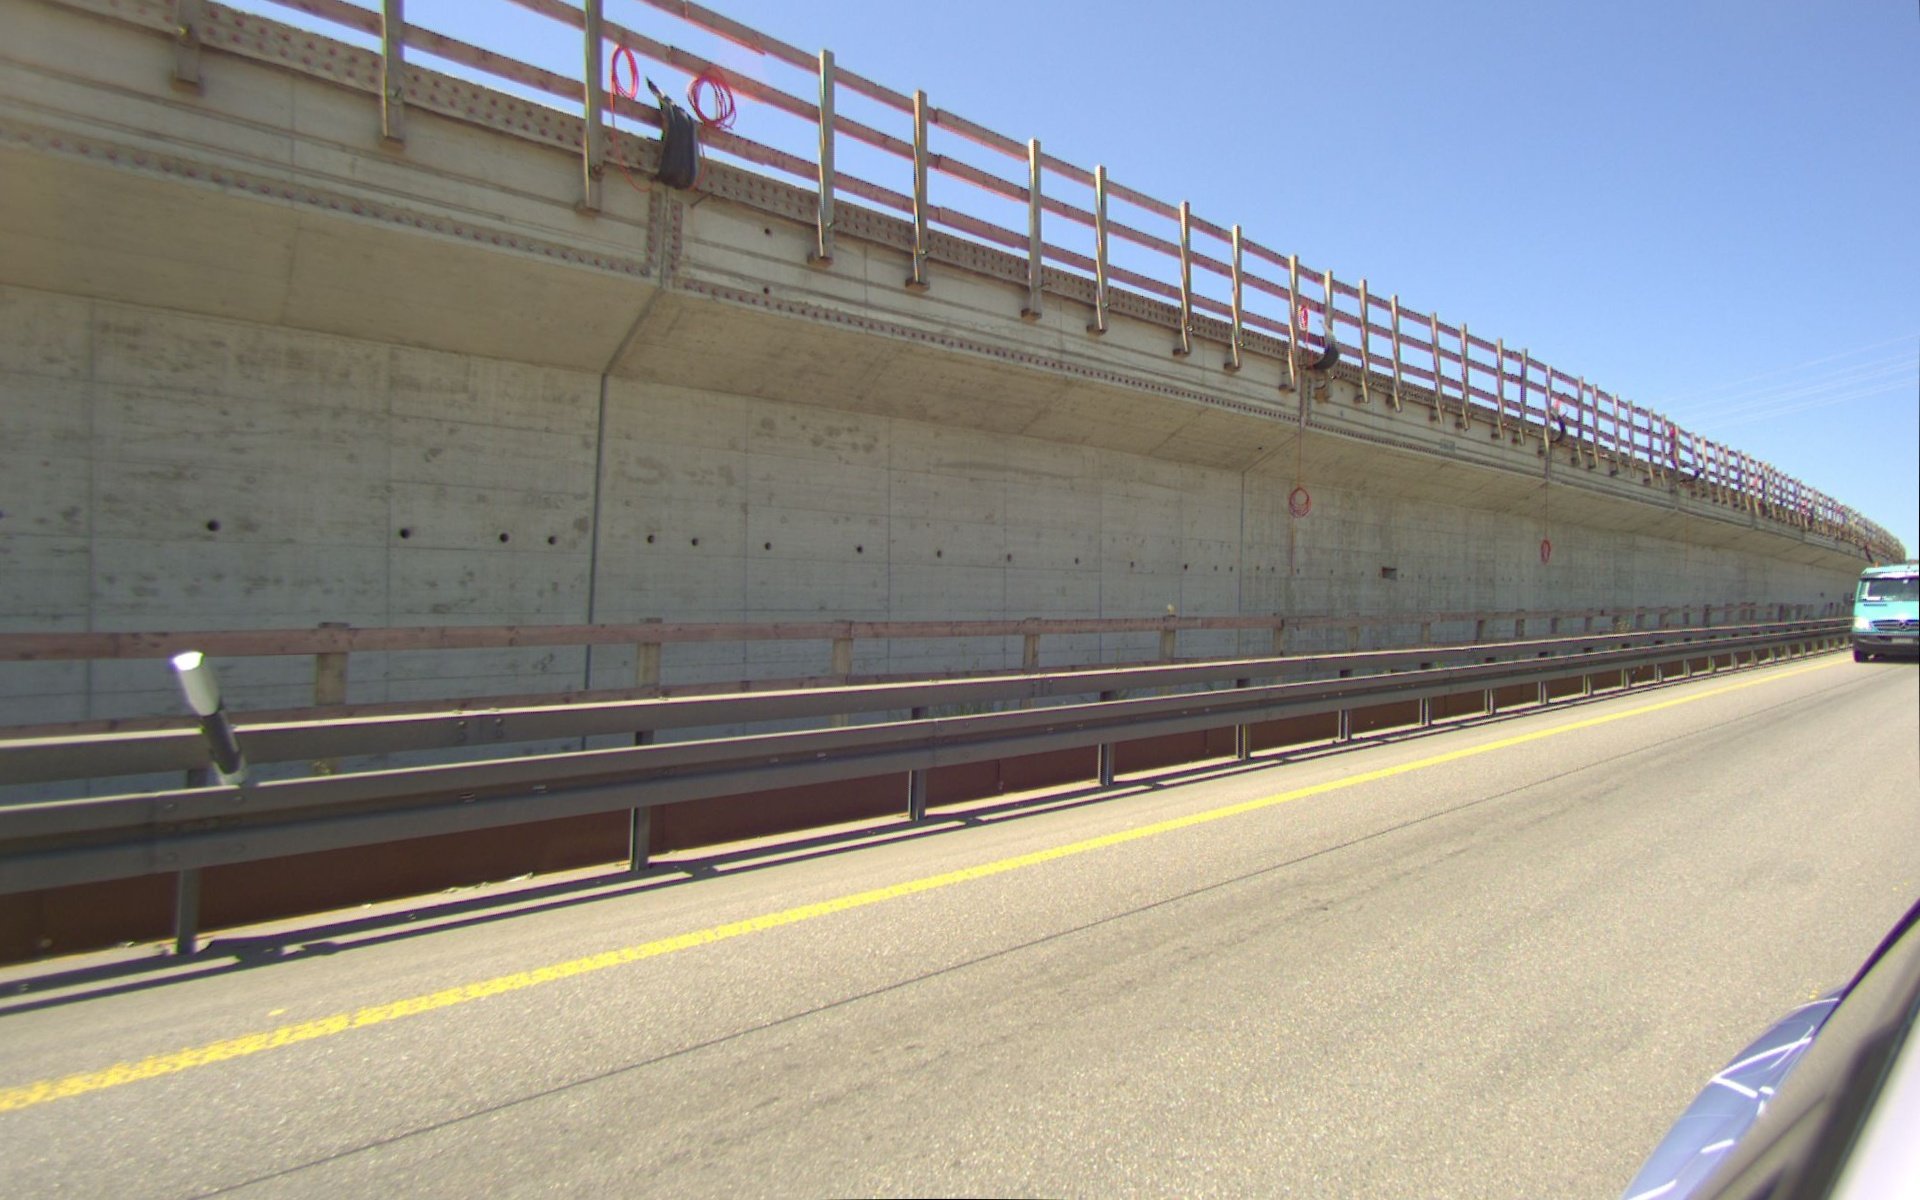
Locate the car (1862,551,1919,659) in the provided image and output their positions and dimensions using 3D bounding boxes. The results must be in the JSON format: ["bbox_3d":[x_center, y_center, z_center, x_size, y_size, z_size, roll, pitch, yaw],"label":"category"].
[{"bbox_3d":[24.118,0.075,24.917,7.085,2.411,1.966,-1,-1,-41],"label":"car"}]
